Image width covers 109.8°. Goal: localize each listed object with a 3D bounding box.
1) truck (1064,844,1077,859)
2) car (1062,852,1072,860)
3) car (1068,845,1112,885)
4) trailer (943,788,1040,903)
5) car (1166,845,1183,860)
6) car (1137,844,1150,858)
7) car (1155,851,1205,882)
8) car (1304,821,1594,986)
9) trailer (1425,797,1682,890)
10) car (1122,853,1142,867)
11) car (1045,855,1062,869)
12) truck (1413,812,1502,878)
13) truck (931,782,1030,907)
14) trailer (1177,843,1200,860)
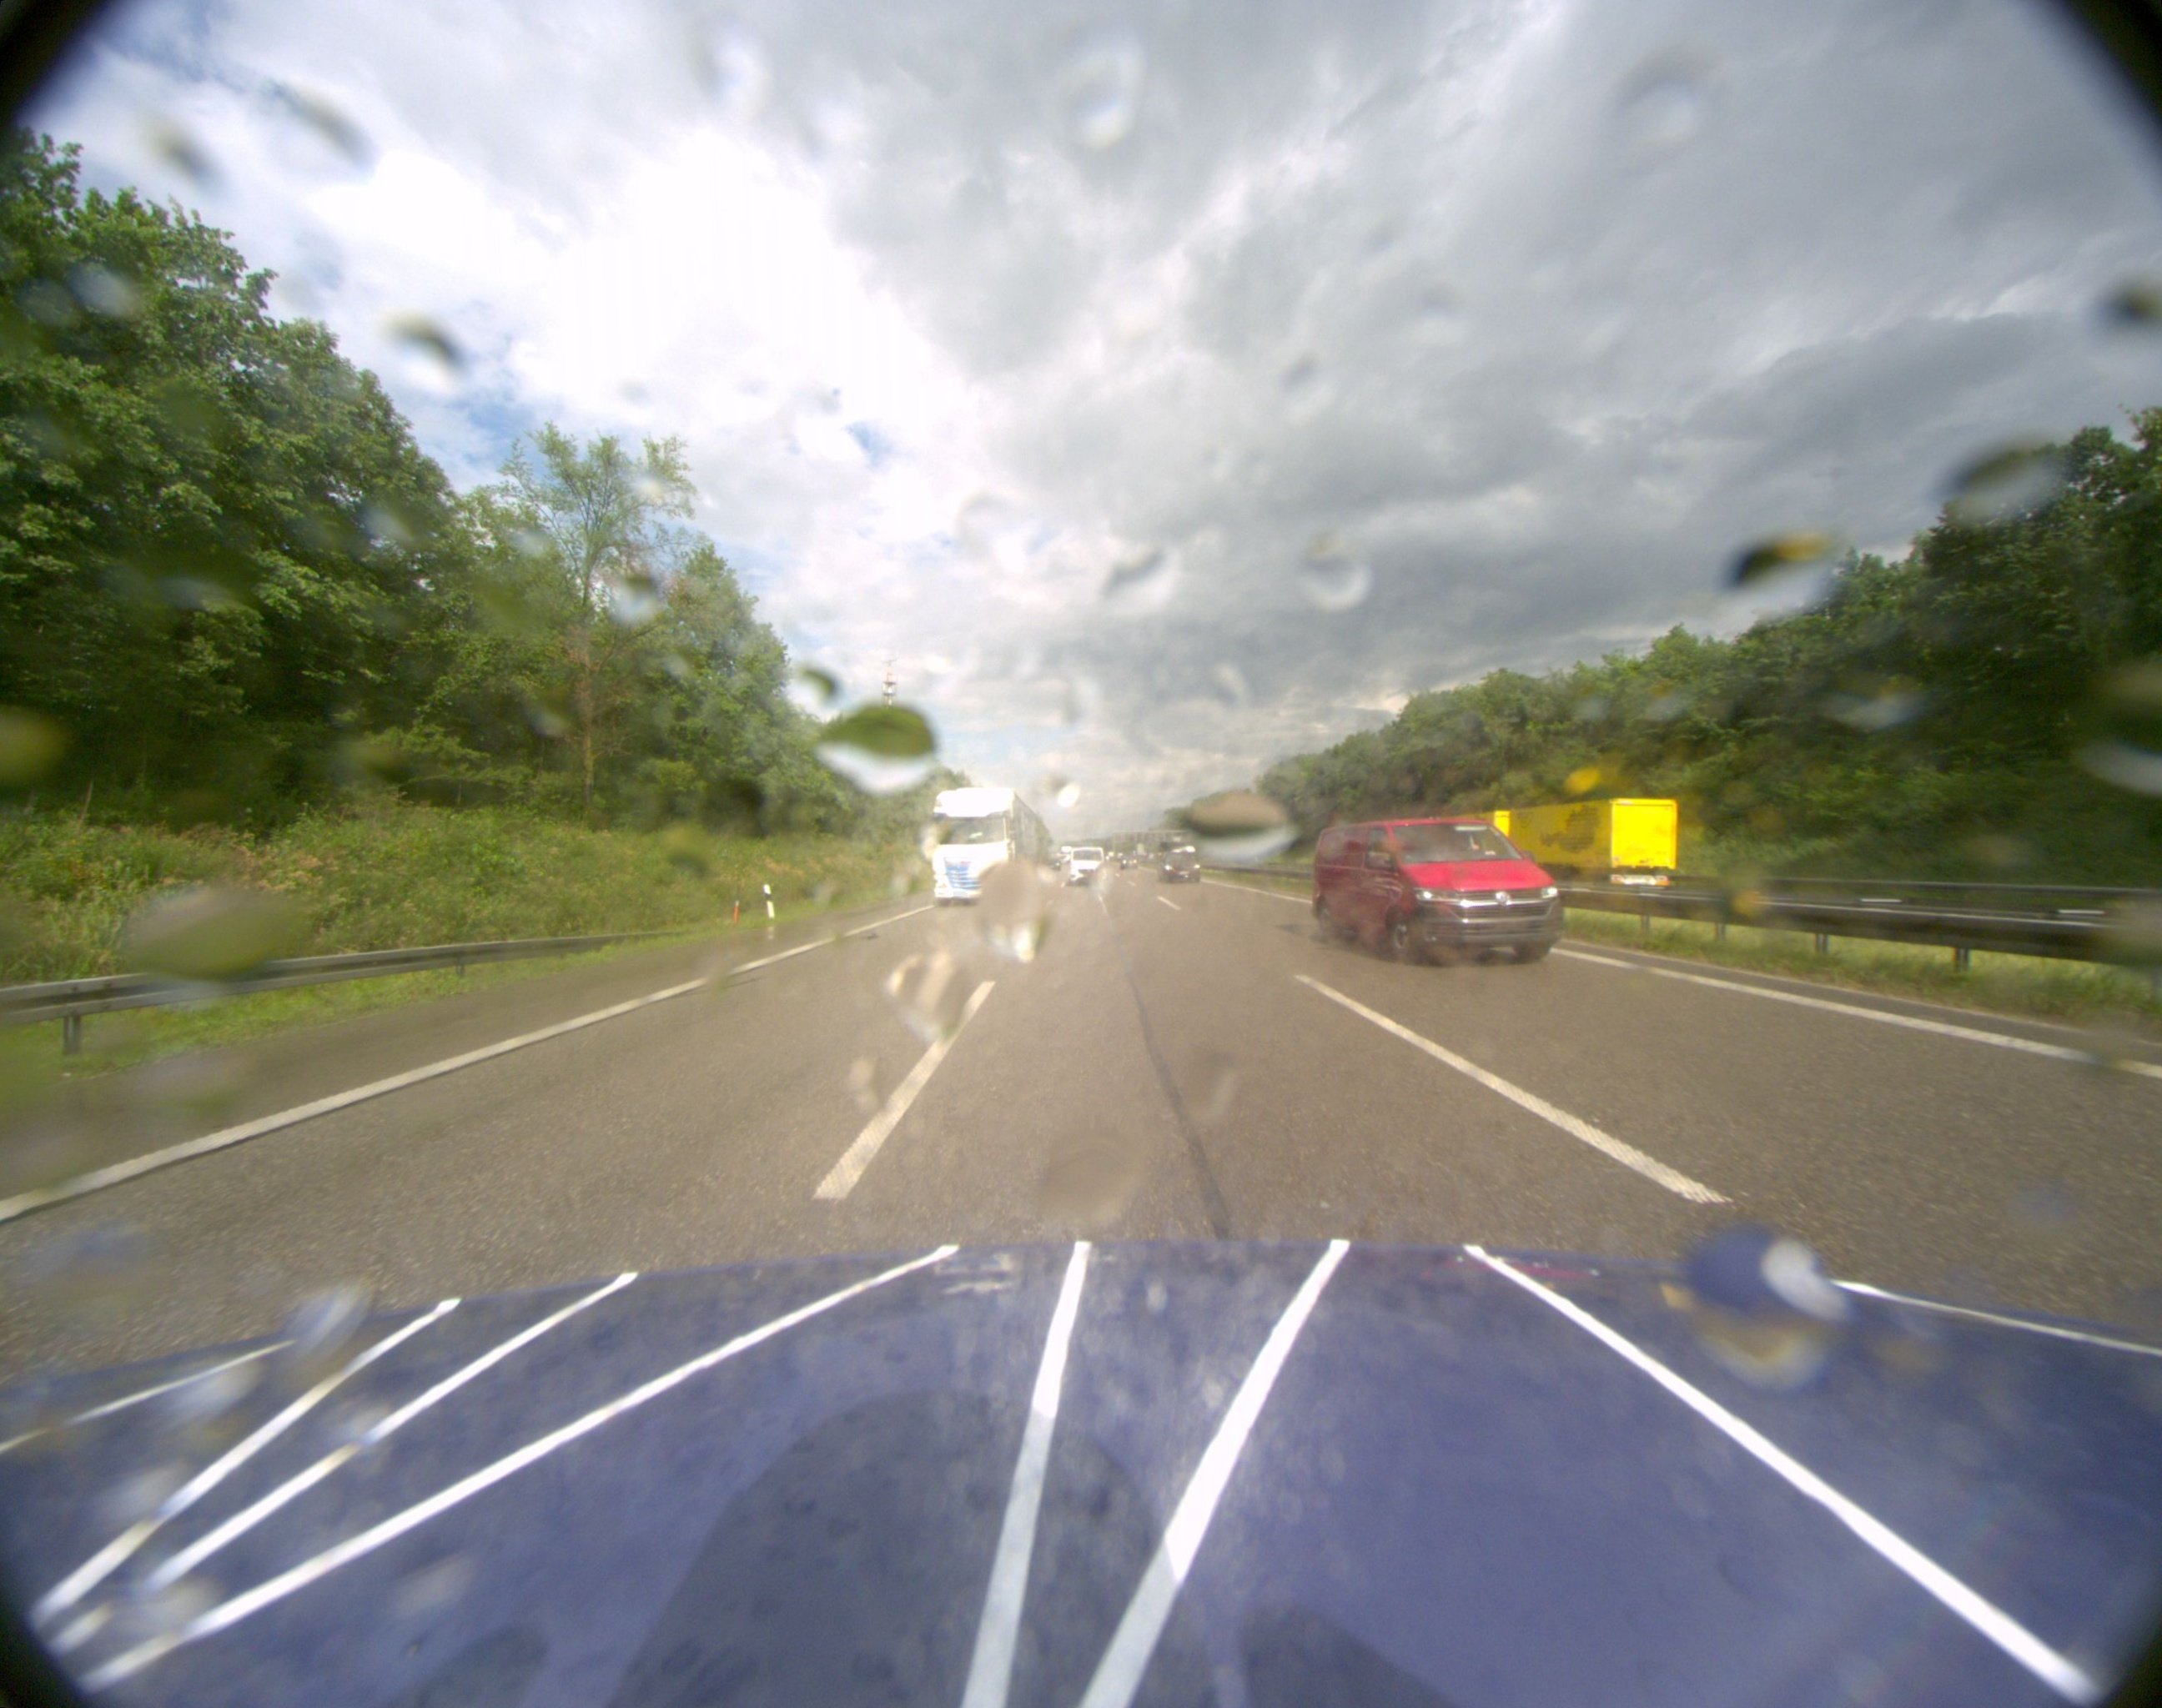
[{"bbox_3d":[-2.714,-0.620,194.395,3.064,3.827,8.799,0,0,-1],"label":"truck"},{"bbox_3d":[-2.779,0.445,150.391,1.799,1.410,4.838,-2,0,0],"label":"car"},{"bbox_3d":[0.467,0.544,41.572,2.124,1.988,5.982,-2,0,0],"label":"car"},{"bbox_3d":[-3.540,-0.352,33.920,2.641,3.972,14.062,-2,0,0],"label":"trailer"},{"bbox_3d":[17.983,-0.327,145.999,2.268,2.853,6.788,-2,0,0],"label":"car"},{"bbox_3d":[13.765,-0.648,167.333,2.268,2.853,6.889,-2,0,0],"label":"car"},{"bbox_3d":[5.280,0.635,41.026,2.009,1.488,4.838,-2,0,0],"label":"car"},{"bbox_3d":[4.999,0.559,11.272,1.927,1.855,4.838,-2,0,0],"label":"car"},{"bbox_3d":[22.554,-0.466,38.515,2.729,3.623,16.676,-2,0,1],"label":"trailer"},{"bbox_3d":[5.490,0.632,82.605,1.799,1.410,4.838,-2,0,0],"label":"car"},{"bbox_3d":[-3.122,0.887,87.394,1.799,1.410,4.838,-2,0,0],"label":"car"},{"bbox_3d":[22.653,-0.518,46.037,2.729,3.643,5.331,-2,1,1],"label":"truck"},{"bbox_3d":[-3.522,-0.317,28.346,2.613,3.972,7.289,-2,1,0],"label":"truck"},{"bbox_3d":[26.180,-0.689,185.818,2.998,3.809,17.950,-2,0,0],"label":"trailer"}]
